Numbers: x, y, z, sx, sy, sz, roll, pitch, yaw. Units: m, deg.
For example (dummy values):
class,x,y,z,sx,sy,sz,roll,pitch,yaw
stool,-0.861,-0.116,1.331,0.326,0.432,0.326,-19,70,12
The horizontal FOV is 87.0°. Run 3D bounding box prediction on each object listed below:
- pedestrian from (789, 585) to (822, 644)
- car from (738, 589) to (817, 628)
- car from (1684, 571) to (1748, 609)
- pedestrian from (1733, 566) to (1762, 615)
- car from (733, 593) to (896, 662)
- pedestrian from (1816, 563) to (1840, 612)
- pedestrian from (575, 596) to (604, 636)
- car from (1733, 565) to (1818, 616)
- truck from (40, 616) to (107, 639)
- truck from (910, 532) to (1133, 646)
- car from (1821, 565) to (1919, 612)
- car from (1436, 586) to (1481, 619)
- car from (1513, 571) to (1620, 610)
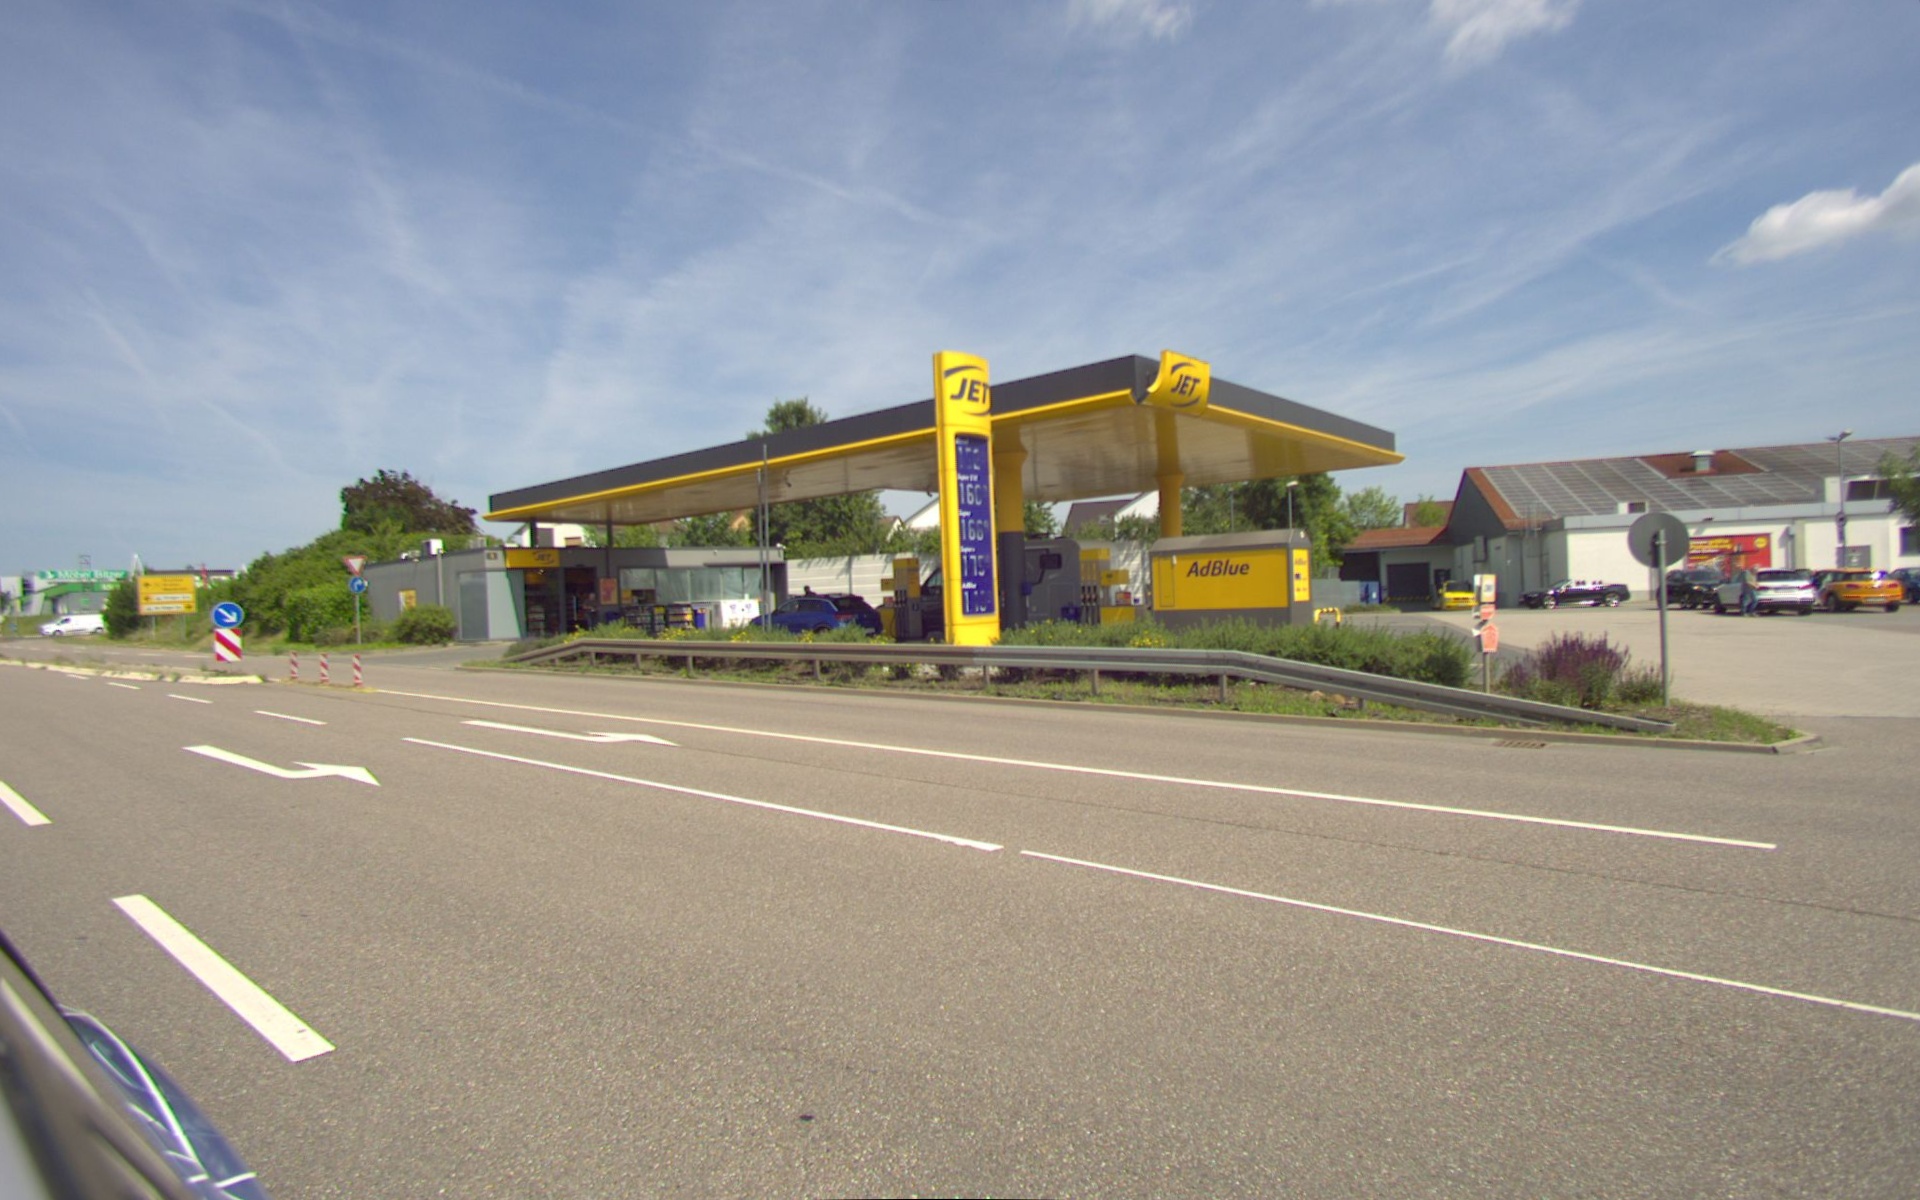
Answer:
class,x,y,z,sx,sy,sz,roll,pitch,yaw
pedestrian,-4.916,0.456,32.210,0.639,1.852,0.788,-2,0,42
car,-8.762,0.386,48.363,3.987,1.747,1.598,0,1,42
car,29.366,-0.412,39.417,1.713,1.320,3.955,-2,1,33
pedestrian,25.239,-0.299,32.423,0.508,1.564,0.507,-1,0,-14
car,-4.001,0.750,27.454,4.258,1.719,1.975,-2,-1,38
pedestrian,28.342,-0.398,33.062,0.516,1.564,0.500,-1,0,34
pedestrian,-13.869,0.594,37.860,0.900,1.438,0.495,-1,0,-35
car,27.197,-0.348,33.870,1.765,1.551,3.955,-3,0,33
truck,-88.500,2.757,101.082,1.997,2.024,4.715,-2,0,38
truck,1.623,-0.266,28.894,6.279,2.944,2.222,-1,0,40
car,30.286,-0.389,33.653,1.879,1.453,3.957,-1,1,31
car,28.859,0.134,58.654,1.987,1.823,4.355,-2,0,22
car,28.090,-0.424,46.997,3.837,1.625,1.746,-2,-1,13
